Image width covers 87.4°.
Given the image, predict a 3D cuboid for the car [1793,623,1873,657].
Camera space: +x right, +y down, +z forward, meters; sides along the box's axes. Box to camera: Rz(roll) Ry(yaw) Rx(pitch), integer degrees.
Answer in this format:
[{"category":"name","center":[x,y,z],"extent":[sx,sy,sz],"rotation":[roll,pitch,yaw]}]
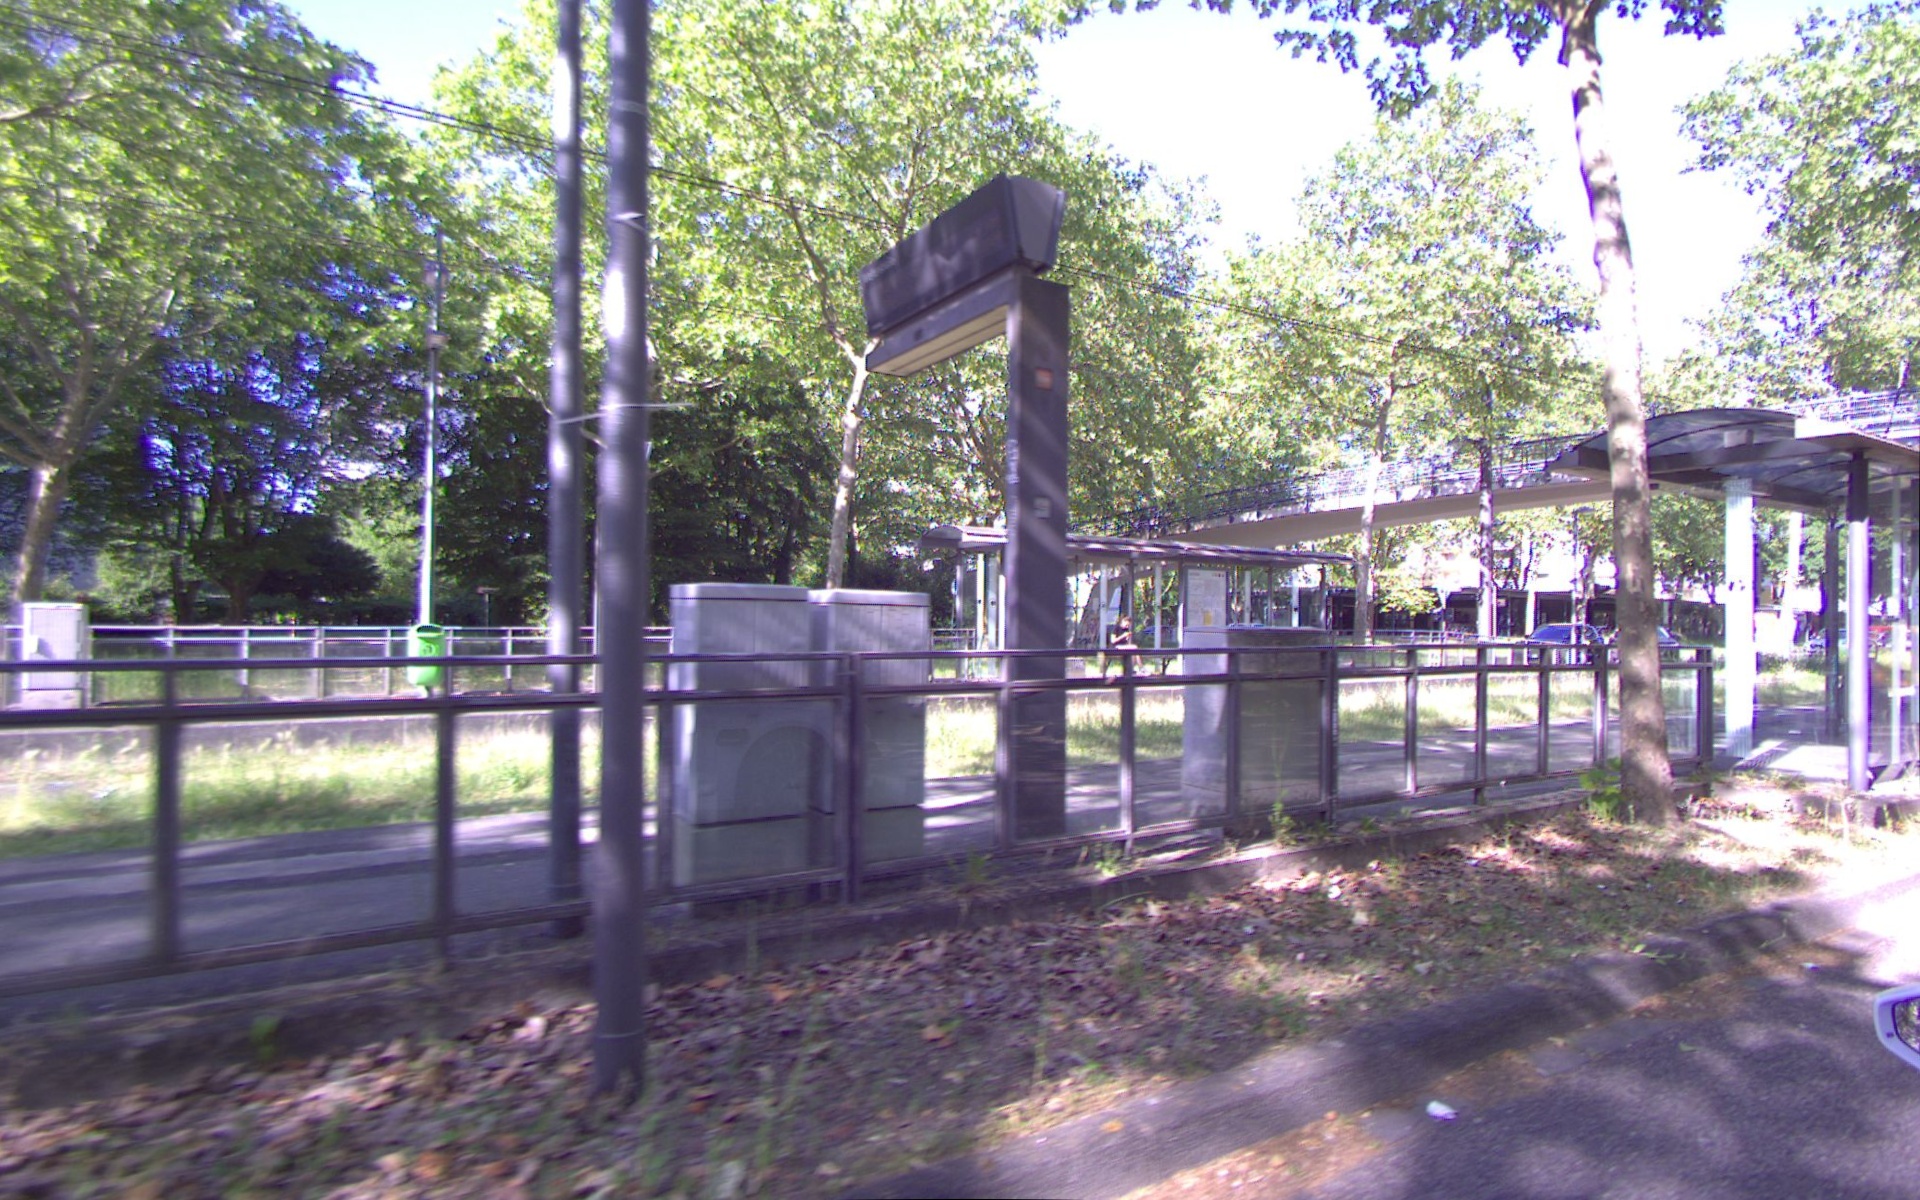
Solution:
[{"category":"car","center":[43.307,1.964,49.791],"extent":[4.238,1.601,1.785],"rotation":[1,-1,-31]}]

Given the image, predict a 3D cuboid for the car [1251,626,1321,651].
[{"category":"car","center":[20.579,2.408,63.498],"extent":[1.783,1.530,3.959],"rotation":[1,-1,-36]}]

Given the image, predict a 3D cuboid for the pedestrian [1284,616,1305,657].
[{"category":"pedestrian","center":[14.640,1.586,43.917],"extent":[0.638,1.807,0.649],"rotation":[0,-1,-10]}]

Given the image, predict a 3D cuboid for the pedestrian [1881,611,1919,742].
[{"category":"pedestrian","center":[9.727,0.749,9.811],"extent":[0.840,1.259,0.851],"rotation":[1,0,-29]}]

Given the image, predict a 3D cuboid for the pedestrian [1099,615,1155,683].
[{"category":"pedestrian","center":[3.166,0.921,19.102],"extent":[0.714,1.254,0.773],"rotation":[1,-1,-32]}]

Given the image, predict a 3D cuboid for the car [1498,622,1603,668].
[{"category":"car","center":[21.875,1.636,37.157],"extent":[4.245,1.587,1.783],"rotation":[1,-1,-35]}]

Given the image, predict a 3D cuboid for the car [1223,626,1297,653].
[{"category":"car","center":[18.033,2.368,60.516],"extent":[1.783,1.530,4.044],"rotation":[1,-1,-37]}]

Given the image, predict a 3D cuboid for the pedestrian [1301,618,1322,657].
[{"category":"pedestrian","center":[15.433,1.637,44.092],"extent":[0.638,1.728,0.649],"rotation":[0,-1,-10]}]

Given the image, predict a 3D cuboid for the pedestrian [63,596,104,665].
[{"category":"pedestrian","center":[-21.771,0.750,24.957],"extent":[0.642,1.683,0.645],"rotation":[1,0,-30]}]

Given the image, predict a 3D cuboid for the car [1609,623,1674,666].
[{"category":"car","center":[26.889,1.710,39.748],"extent":[1.768,1.587,4.280],"rotation":[0,-1,30]}]
